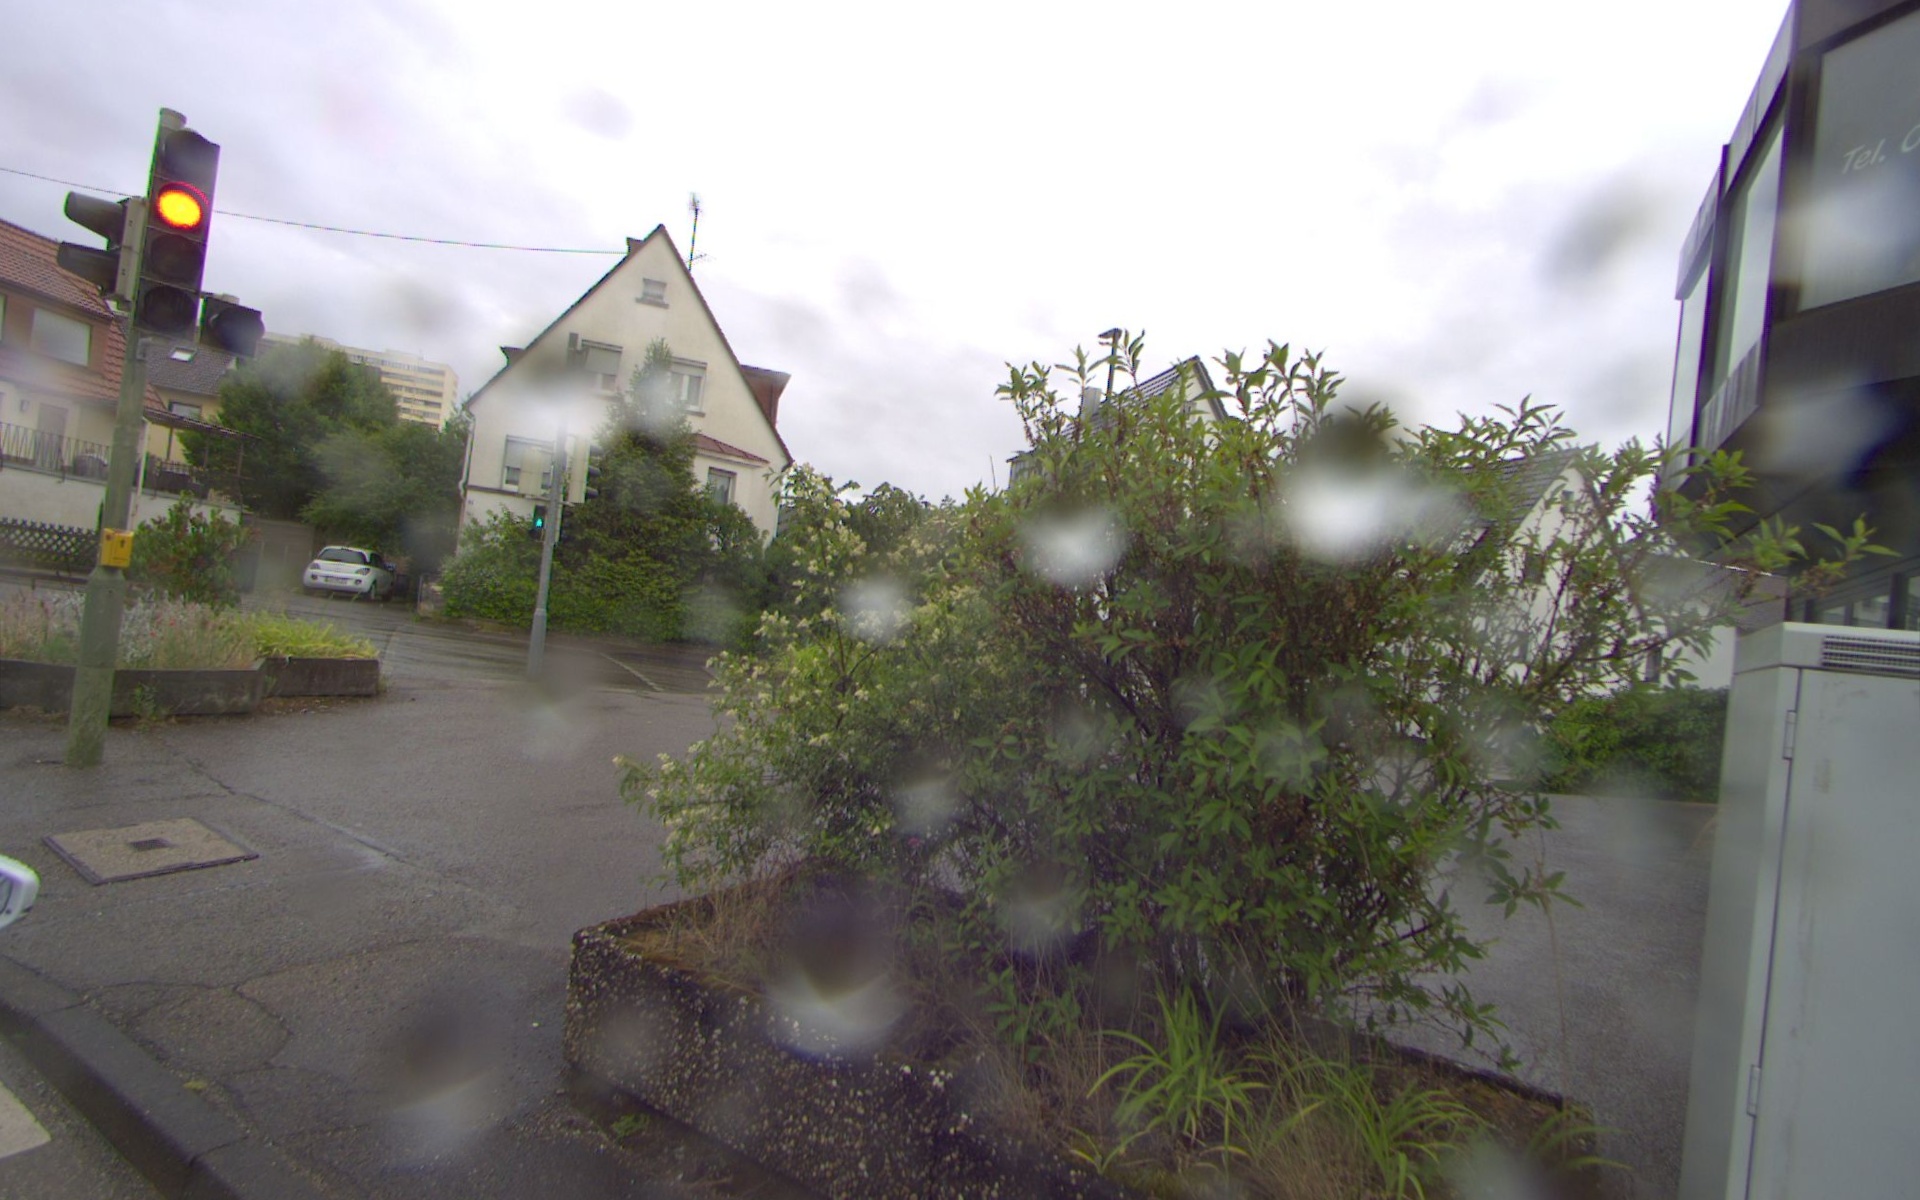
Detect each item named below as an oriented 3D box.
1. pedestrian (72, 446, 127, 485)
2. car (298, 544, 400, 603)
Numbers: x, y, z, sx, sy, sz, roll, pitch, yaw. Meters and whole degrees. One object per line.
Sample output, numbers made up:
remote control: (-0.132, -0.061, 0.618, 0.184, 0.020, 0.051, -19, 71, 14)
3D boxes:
pedestrian: (-24.266, -3.800, 28.375, 0.623, 0.893, 0.920, 5, -2, 13)
car: (-17.751, -0.743, 29.426, 1.794, 1.378, 3.981, 8, -2, -22)
